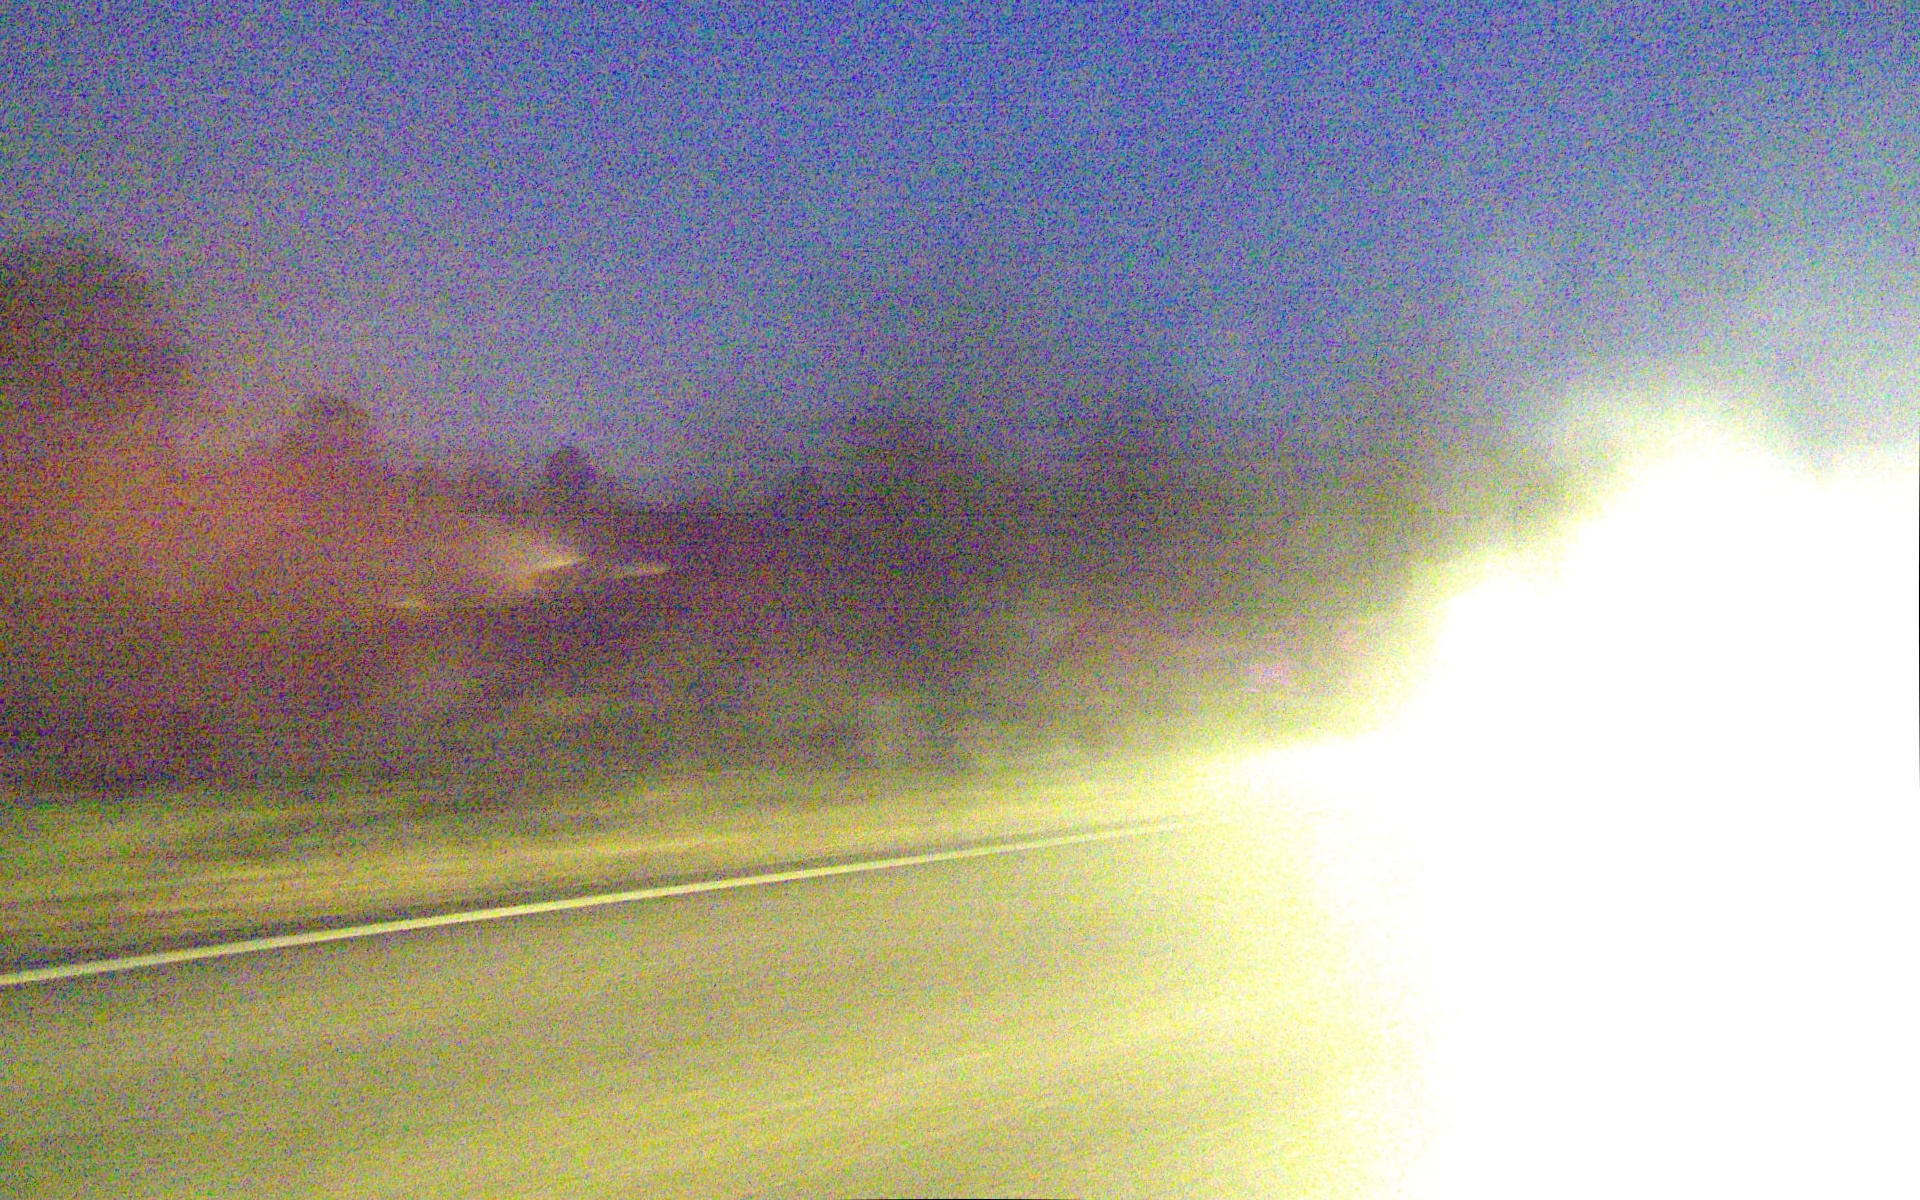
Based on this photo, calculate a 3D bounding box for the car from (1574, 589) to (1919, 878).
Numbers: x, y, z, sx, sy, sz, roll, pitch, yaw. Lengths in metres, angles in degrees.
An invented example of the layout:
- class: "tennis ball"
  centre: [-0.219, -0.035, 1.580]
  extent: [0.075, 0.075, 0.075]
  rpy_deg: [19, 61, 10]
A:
- class: "car"
  centre: [6.894, 0.840, 7.779]
  extent: [3.953, 1.683, 1.984]
  rpy_deg: [2, 0, -30]
